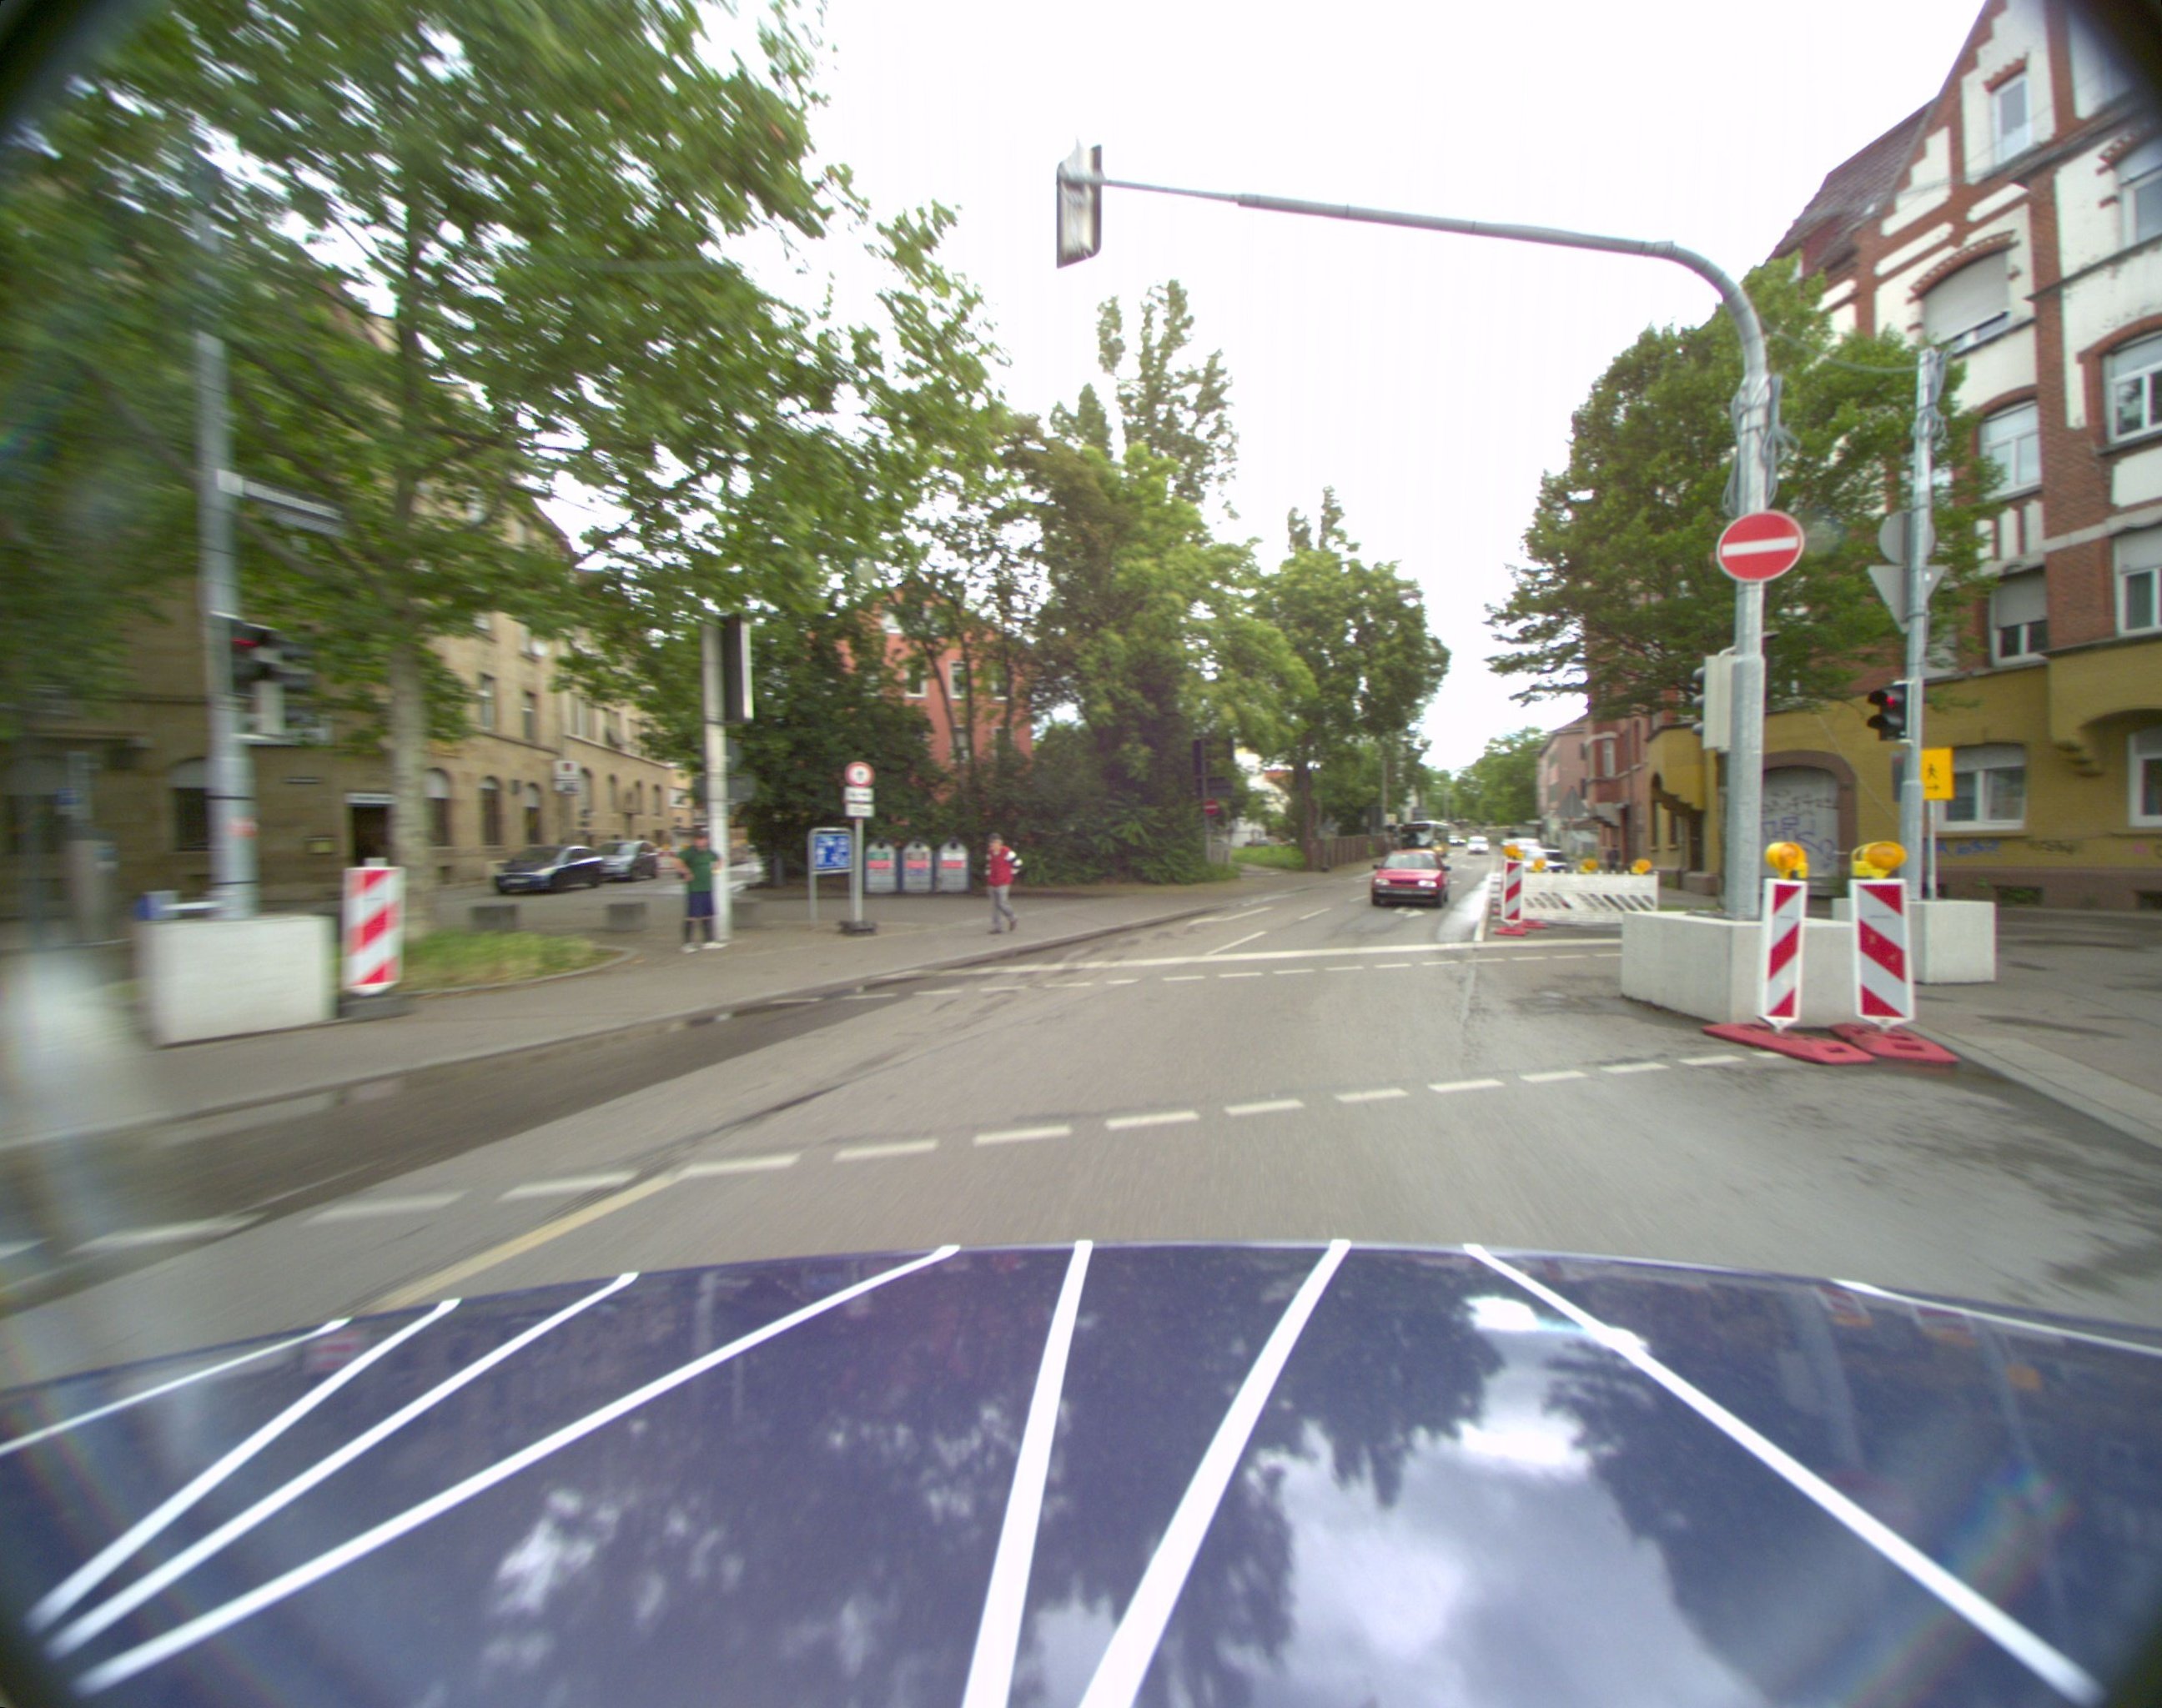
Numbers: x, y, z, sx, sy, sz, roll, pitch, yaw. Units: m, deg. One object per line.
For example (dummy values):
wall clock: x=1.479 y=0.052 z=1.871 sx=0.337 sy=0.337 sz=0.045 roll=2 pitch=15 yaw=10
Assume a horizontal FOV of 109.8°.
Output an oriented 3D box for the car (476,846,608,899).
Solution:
car: x=-16.665 y=0.506 z=23.766 sx=1.731 sy=1.456 sz=4.085 roll=1 pitch=1 yaw=-9

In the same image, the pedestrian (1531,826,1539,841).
pedestrian: x=55.769 y=-2.490 z=93.371 sx=0.762 sy=1.734 sz=0.986 roll=-2 pitch=0 yaw=26

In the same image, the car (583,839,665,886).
car: x=-17.761 y=0.275 z=29.731 sx=1.622 sy=1.581 sz=3.993 roll=-1 pitch=3 yaw=-14

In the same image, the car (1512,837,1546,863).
car: x=32.122 y=-0.315 z=54.565 sx=1.955 sy=1.724 sz=4.782 roll=0 pitch=1 yaw=29

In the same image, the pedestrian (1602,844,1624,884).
pedestrian: x=22.004 y=0.402 z=31.431 sx=0.660 sy=1.600 sz=0.633 roll=-2 pitch=0 yaw=29

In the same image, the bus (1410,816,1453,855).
bus: x=31.727 y=-1.683 z=68.551 sx=2.664 sy=3.118 sz=10.056 roll=-2 pitch=1 yaw=29

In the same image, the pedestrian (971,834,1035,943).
pedestrian: x=-1.355 y=0.569 z=13.271 sx=0.779 sy=1.821 sz=0.729 roll=3 pitch=3 yaw=29

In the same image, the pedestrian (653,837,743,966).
pedestrian: x=-5.290 y=0.621 z=10.524 sx=0.731 sy=1.688 sz=0.839 roll=2 pitch=2 yaw=20

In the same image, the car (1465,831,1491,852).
car: x=40.251 y=-1.279 z=76.935 sx=2.069 sy=1.776 sz=4.463 roll=-2 pitch=4 yaw=30

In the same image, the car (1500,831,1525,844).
car: x=53.152 y=-2.085 z=93.639 sx=1.831 sy=1.447 sz=4.926 roll=0 pitch=2 yaw=19

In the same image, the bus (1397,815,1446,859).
bus: x=27.032 y=-1.373 z=60.137 sx=2.674 sy=3.120 sz=9.233 roll=-2 pitch=1 yaw=29

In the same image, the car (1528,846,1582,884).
car: x=19.501 y=0.430 z=31.376 sx=1.726 sy=1.477 sz=4.399 roll=-1 pitch=0 yaw=30

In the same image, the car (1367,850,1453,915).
car: x=8.659 y=0.661 z=19.984 sx=1.846 sy=1.414 sz=4.179 roll=1 pitch=2 yaw=24
